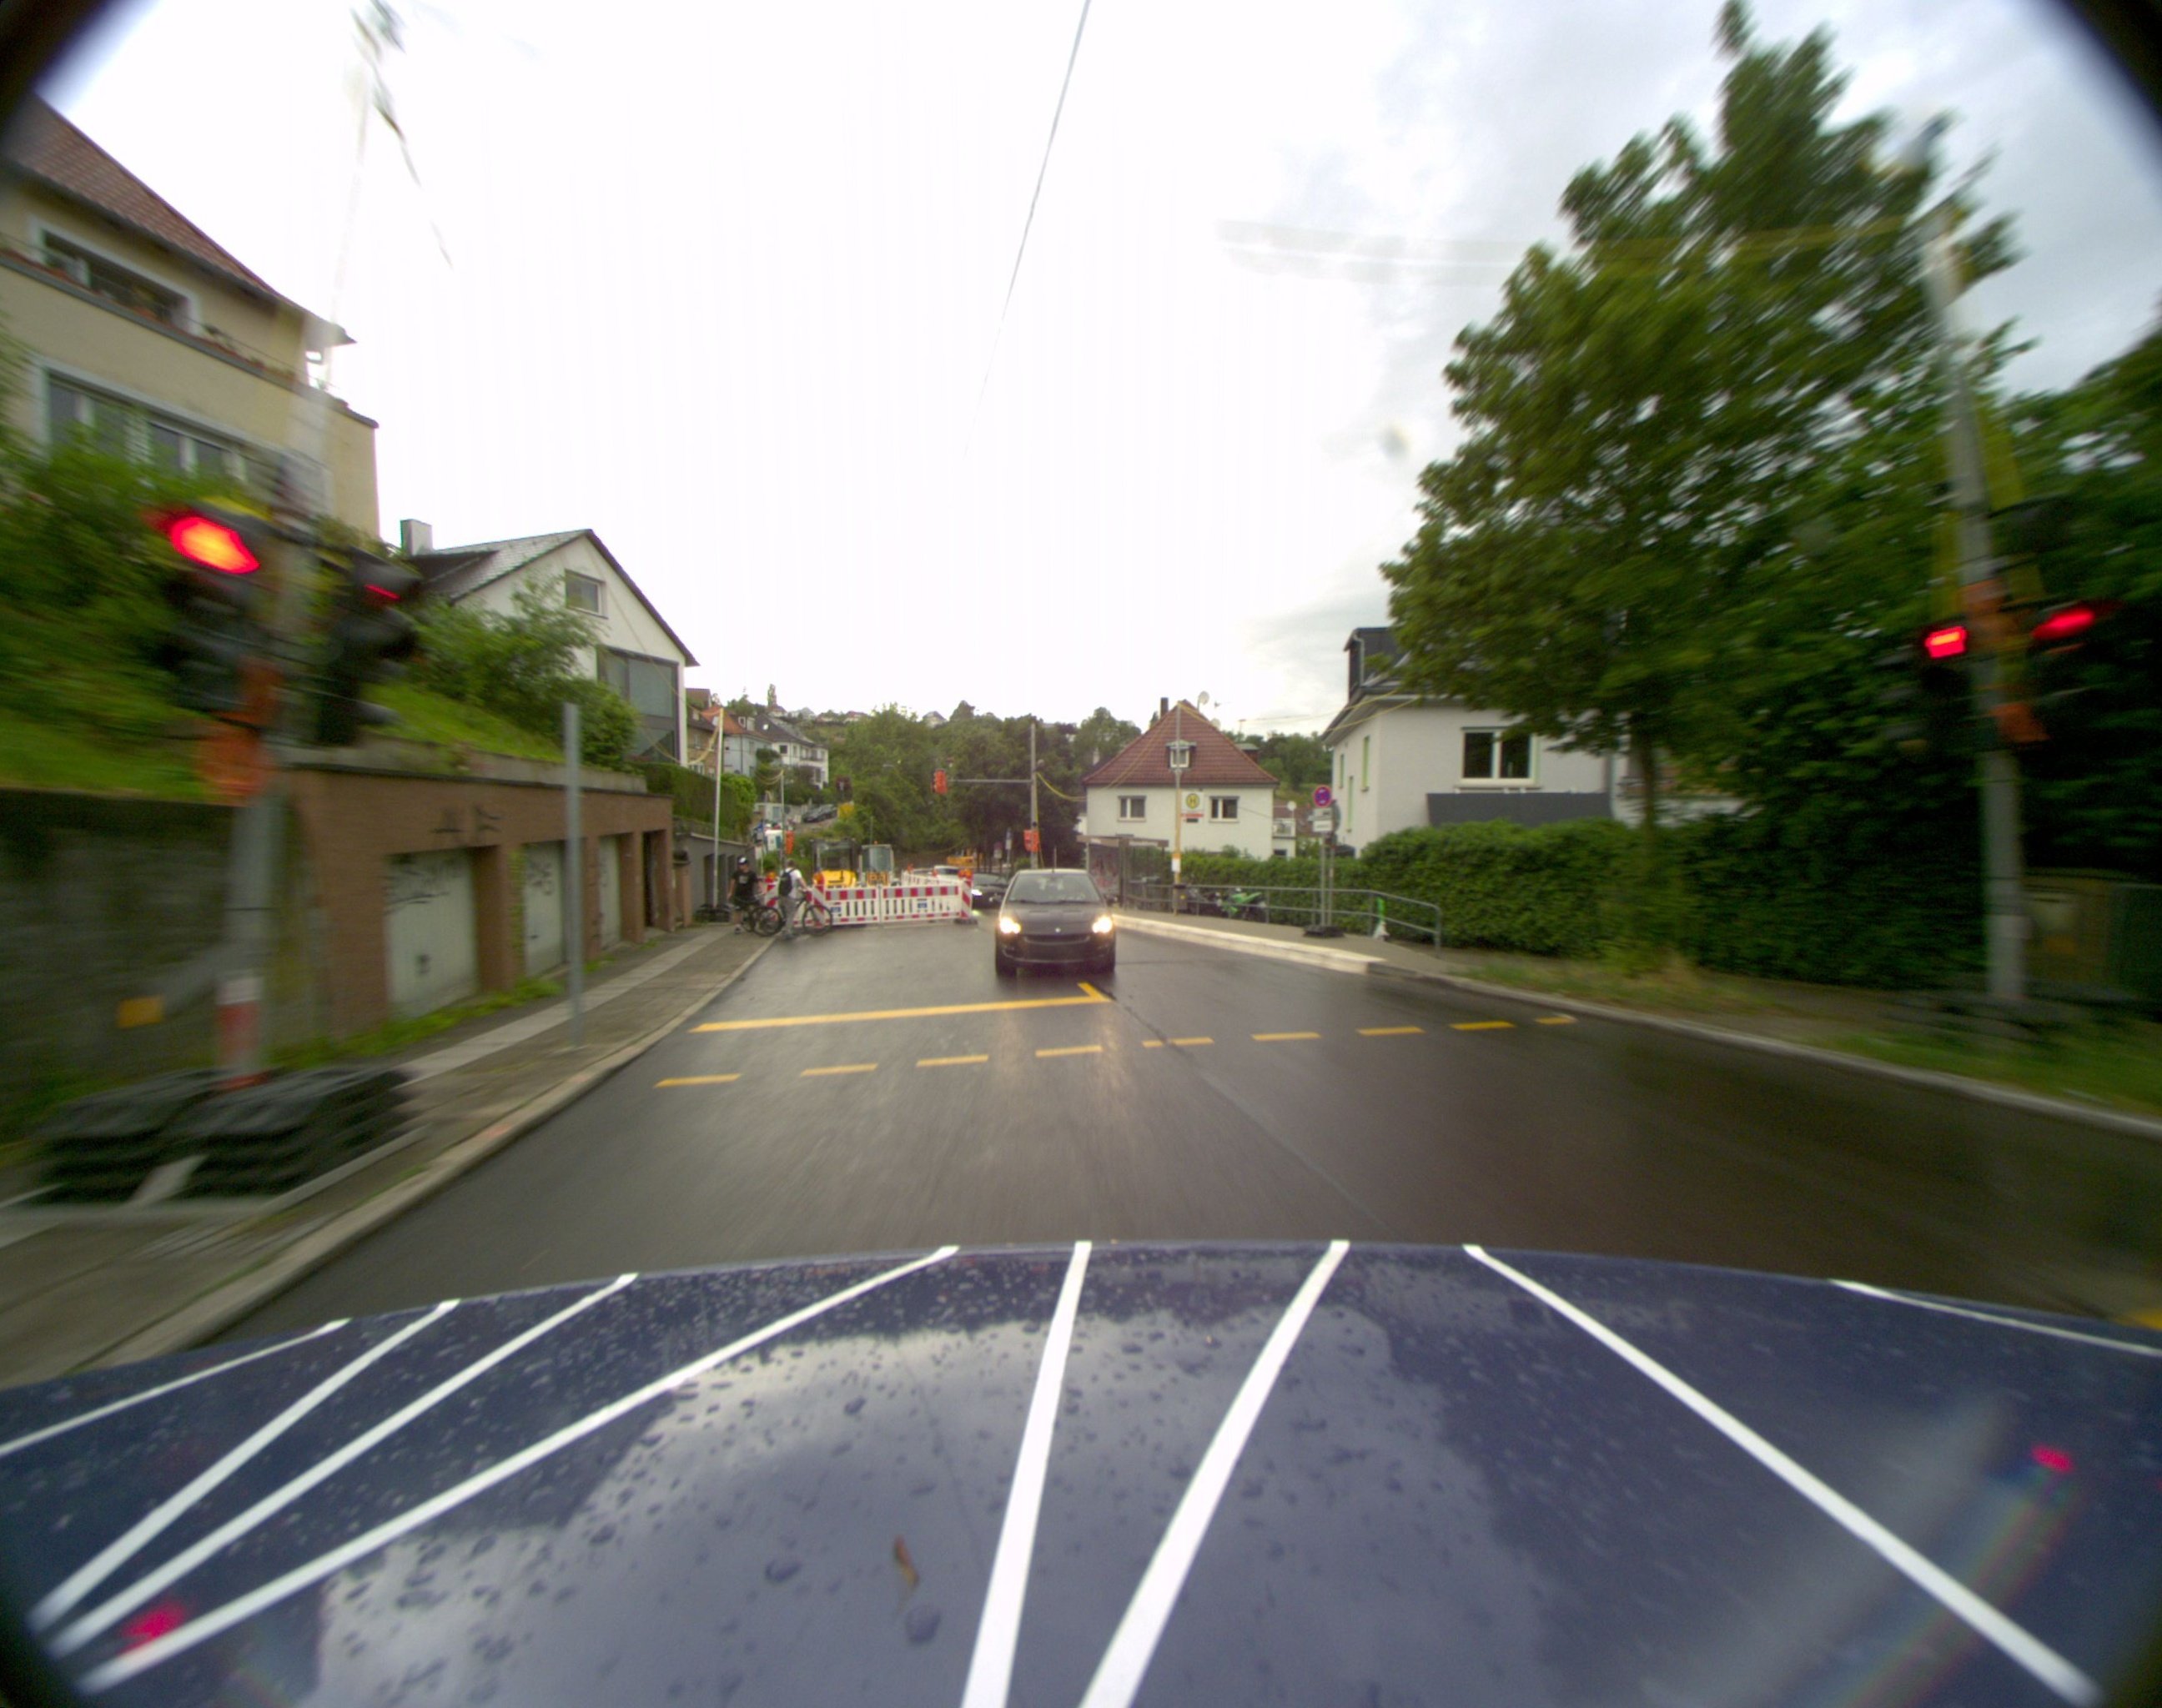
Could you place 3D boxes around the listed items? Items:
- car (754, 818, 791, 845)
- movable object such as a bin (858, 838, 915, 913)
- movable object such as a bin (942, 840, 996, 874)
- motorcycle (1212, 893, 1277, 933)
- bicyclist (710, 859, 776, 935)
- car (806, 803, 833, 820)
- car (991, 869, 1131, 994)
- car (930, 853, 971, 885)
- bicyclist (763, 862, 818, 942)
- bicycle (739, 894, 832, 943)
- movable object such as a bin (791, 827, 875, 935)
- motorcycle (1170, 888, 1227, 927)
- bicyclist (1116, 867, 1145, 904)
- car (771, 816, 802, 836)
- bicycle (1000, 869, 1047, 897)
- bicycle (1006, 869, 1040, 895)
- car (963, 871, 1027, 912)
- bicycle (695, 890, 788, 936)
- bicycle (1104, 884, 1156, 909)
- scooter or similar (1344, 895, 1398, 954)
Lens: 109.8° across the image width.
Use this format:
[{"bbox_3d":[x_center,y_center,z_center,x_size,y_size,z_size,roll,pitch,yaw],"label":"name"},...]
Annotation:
[{"bbox_3d":[-30.281,-2.265,74.707,1.901,2.069,4.421,2,8,-3],"label":"car"},{"bbox_3d":[-8.301,0.785,32.046,2.095,2.822,5.666,0,2,-17],"label":"movable object such as a bin"},{"bbox_3d":[-13.091,0.339,89.593,3.324,3.817,7.214,2,1,18],"label":"movable object such as a bin"},{"bbox_3d":[4.272,1.519,19.993,0.669,0.928,2.007,2,-1,-20],"label":"motorcycle"},{"bbox_3d":[-7.957,0.994,17.925,1.075,1.718,0.934,0,1,17],"label":"bicyclist"},{"bbox_3d":[-30.800,-5.036,89.609,1.860,1.629,3.956,2,9,-3],"label":"car"},{"bbox_3d":[-0.522,1.046,12.111,1.675,1.457,4.711,1,0,-8],"label":"car"},{"bbox_3d":[-7.704,0.818,44.497,2.003,1.699,4.567,1,0,-15],"label":"car"},{"bbox_3d":[-6.566,1.040,17.132,1.078,1.718,0.931,0,1,-26],"label":"bicyclist"},{"bbox_3d":[-6.657,1.424,17.093,1.887,0.975,0.931,0,0,-26],"label":"bicycle"},{"bbox_3d":[-7.385,0.761,22.887,2.095,2.821,5.669,0,-1,-17],"label":"movable object such as a bin"},{"bbox_3d":[3.423,1.551,22.276,0.669,1.030,2.149,2,-1,-20],"label":"motorcycle"},{"bbox_3d":[2.002,1.266,30.697,0.909,1.430,1.096,2,0,-9],"label":"bicyclist"},{"bbox_3d":[-30.570,-2.918,78.954,1.860,1.628,3.956,2,8,-3],"label":"car"},{"bbox_3d":[-2.923,1.490,38.785,2.239,1.353,0.808,2,0,-23],"label":"bicycle"},{"bbox_3d":[-3.017,1.443,39.374,1.698,1.337,0.418,0,-1,-22],"label":"bicycle"},{"bbox_3d":[-3.529,1.452,30.488,1.846,1.395,4.065,1,0,-16],"label":"car"},{"bbox_3d":[-8.006,1.377,17.950,1.826,0.975,0.934,0,0,17],"label":"bicycle"},{"bbox_3d":[1.982,1.704,30.700,1.877,0.926,1.096,2,0,-9],"label":"bicycle"},{"bbox_3d":[5.674,1.369,14.909,0.325,1.074,1.094,2,-1,-20],"label":"scooter or similar"}]
